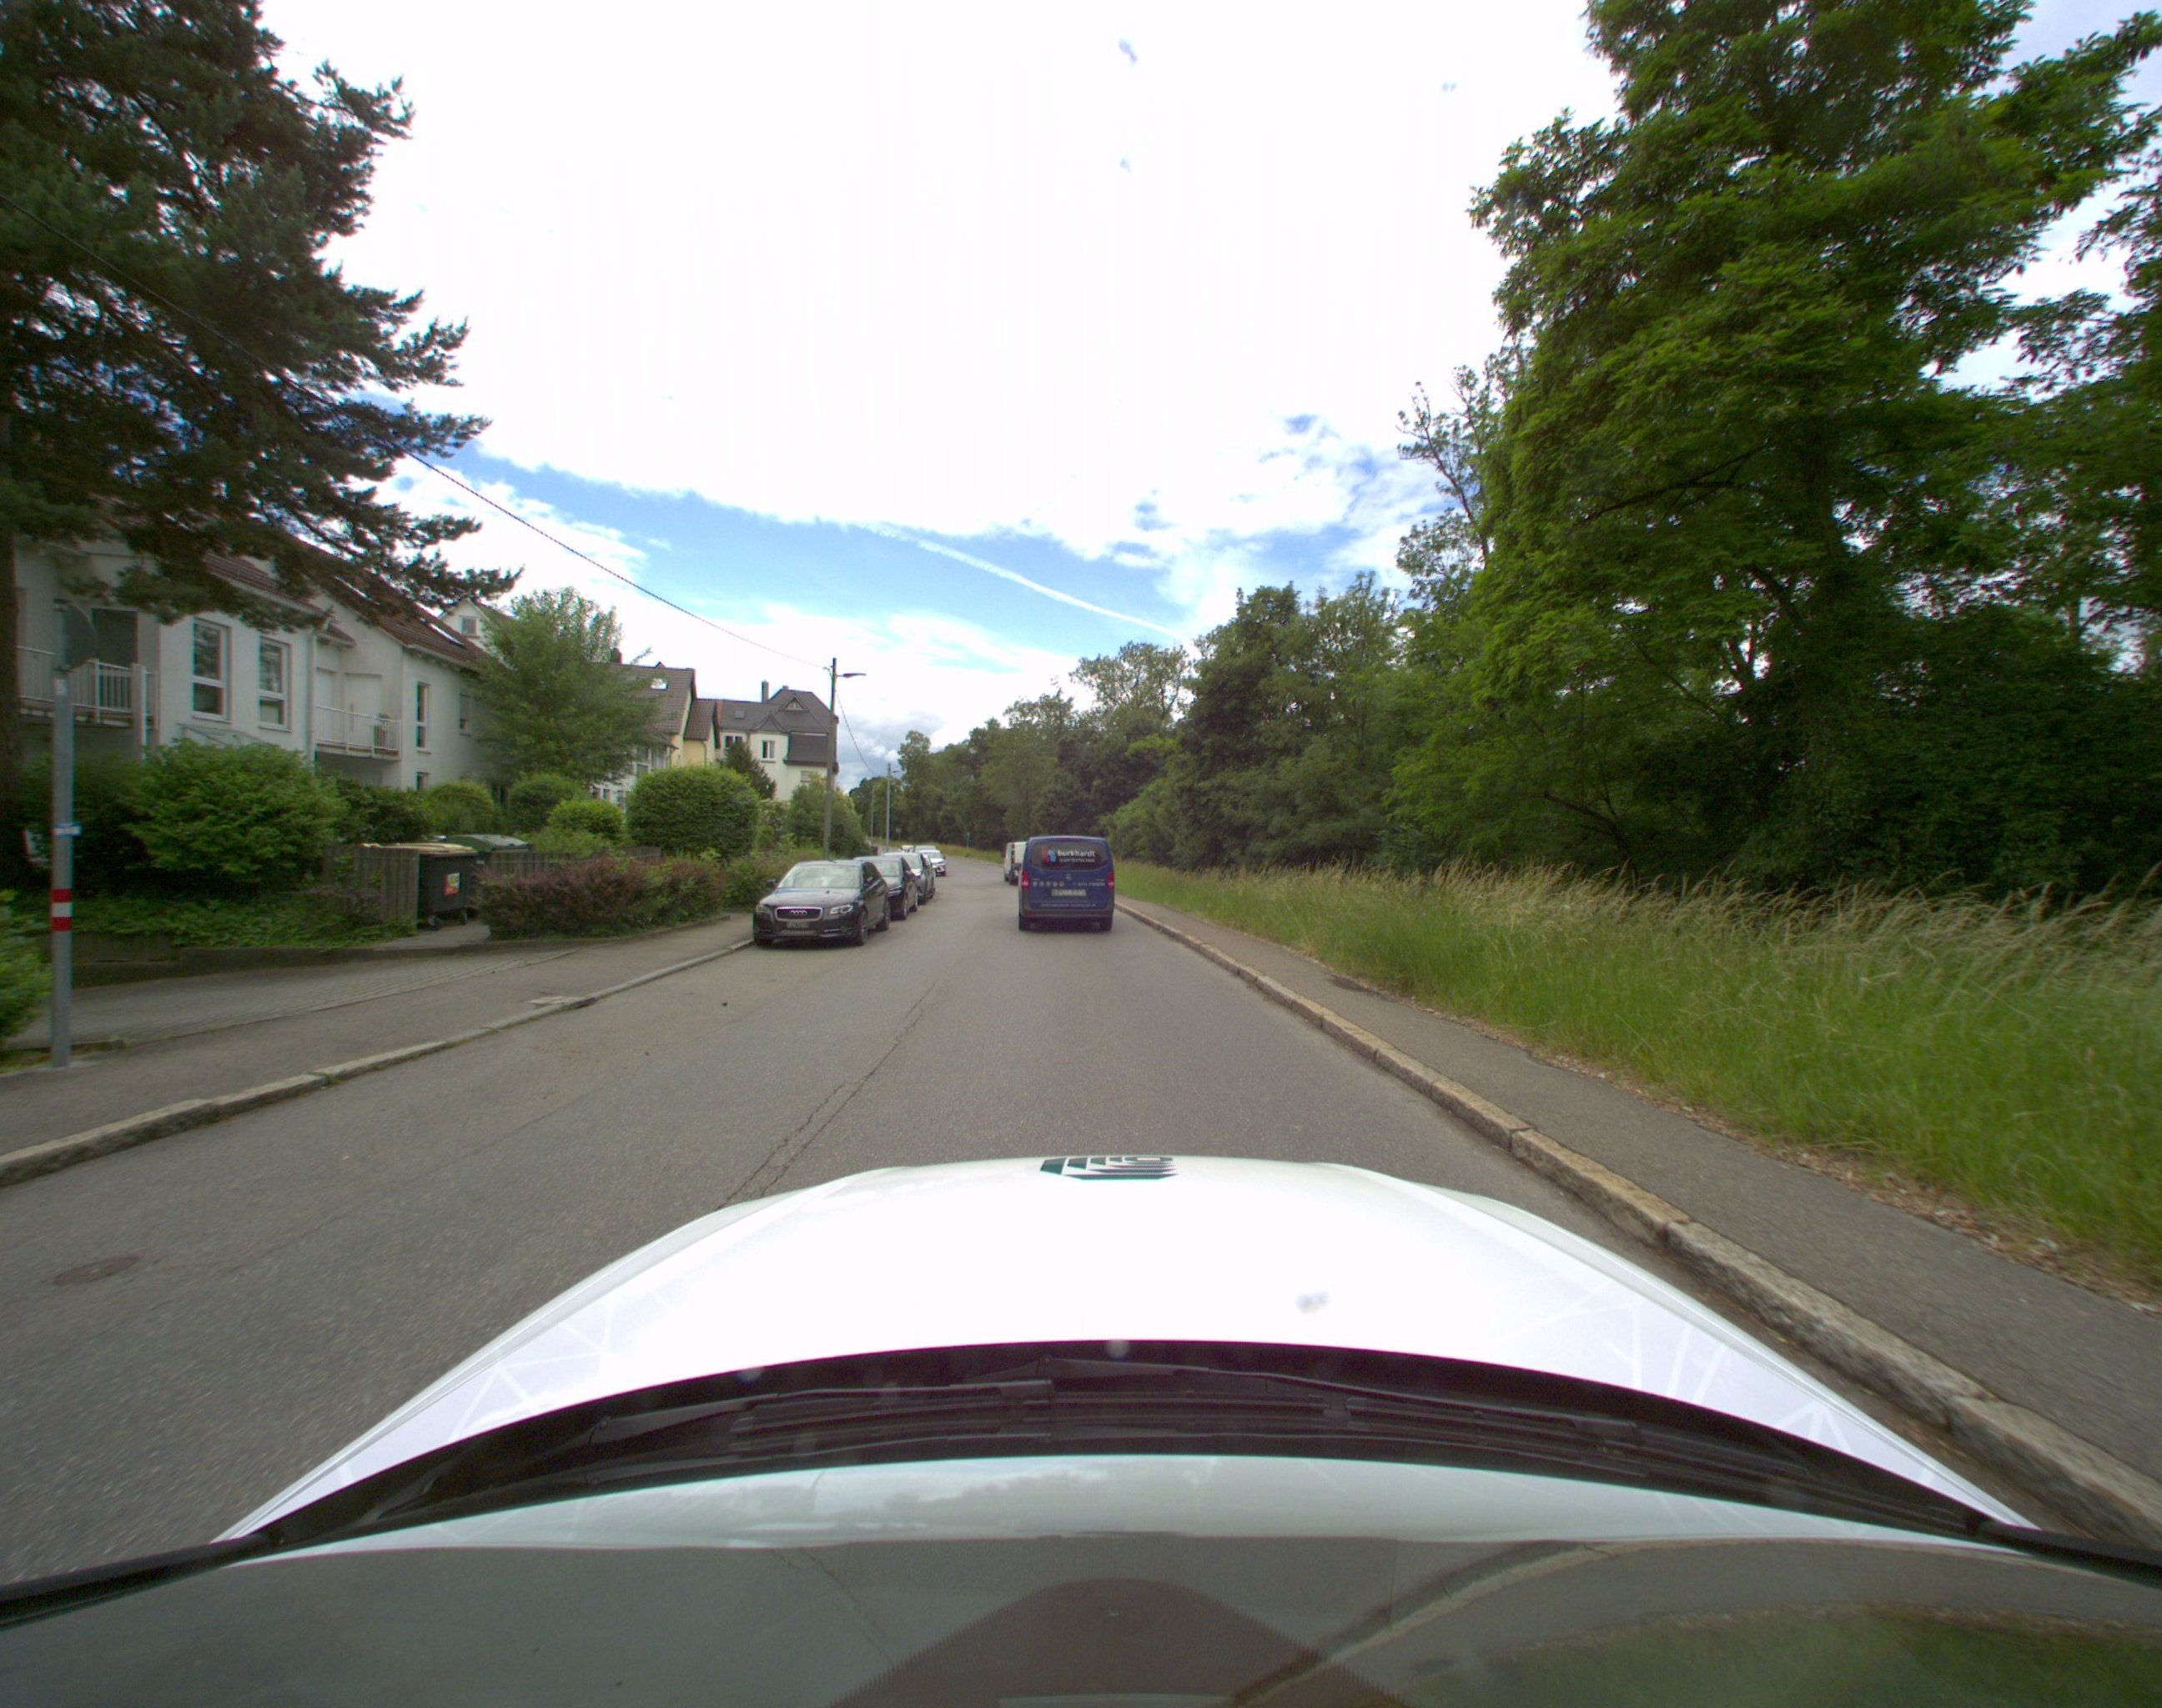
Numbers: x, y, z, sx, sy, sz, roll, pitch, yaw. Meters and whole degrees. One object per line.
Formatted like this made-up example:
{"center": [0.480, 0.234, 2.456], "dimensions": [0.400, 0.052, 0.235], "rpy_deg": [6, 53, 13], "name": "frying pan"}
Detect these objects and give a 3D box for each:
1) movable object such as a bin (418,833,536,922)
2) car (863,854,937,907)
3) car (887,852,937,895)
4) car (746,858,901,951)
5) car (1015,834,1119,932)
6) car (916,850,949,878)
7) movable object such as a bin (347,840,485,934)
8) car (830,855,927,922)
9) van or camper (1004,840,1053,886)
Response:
{"center": [-10.673, 0.383, 14.464], "dimensions": [1.092, 1.466, 1.450], "rpy_deg": [1, 1, -7], "name": "movable object such as a bin"}
{"center": [-5.570, 0.756, 25.502], "dimensions": [1.759, 1.480, 4.119], "rpy_deg": [-1, 0, -6], "name": "car"}
{"center": [-6.246, 0.673, 30.428], "dimensions": [1.622, 1.480, 3.916], "rpy_deg": [1, 0, -9], "name": "car"}
{"center": [-4.538, 0.807, 15.045], "dimensions": [1.732, 1.418, 4.497], "rpy_deg": [0, 0, -5], "name": "car"}
{"center": [-0.430, 0.561, 17.469], "dimensions": [1.910, 1.838, 4.286], "rpy_deg": [0, 0, -5], "name": "car"}
{"center": [-8.754, 0.553, 47.751], "dimensions": [1.725, 1.492, 4.396], "rpy_deg": [3, 0, -12], "name": "car"}
{"center": [-10.516, 0.490, 12.955], "dimensions": [1.113, 1.363, 1.390], "rpy_deg": [1, 1, -7], "name": "movable object such as a bin"}
{"center": [-4.840, 0.752, 19.984], "dimensions": [1.647, 1.441, 4.324], "rpy_deg": [1, 0, -6], "name": "car"}
{"center": [-2.554, 0.364, 38.387], "dimensions": [2.017, 1.956, 4.885], "rpy_deg": [1, 1, -7], "name": "van or camper"}
